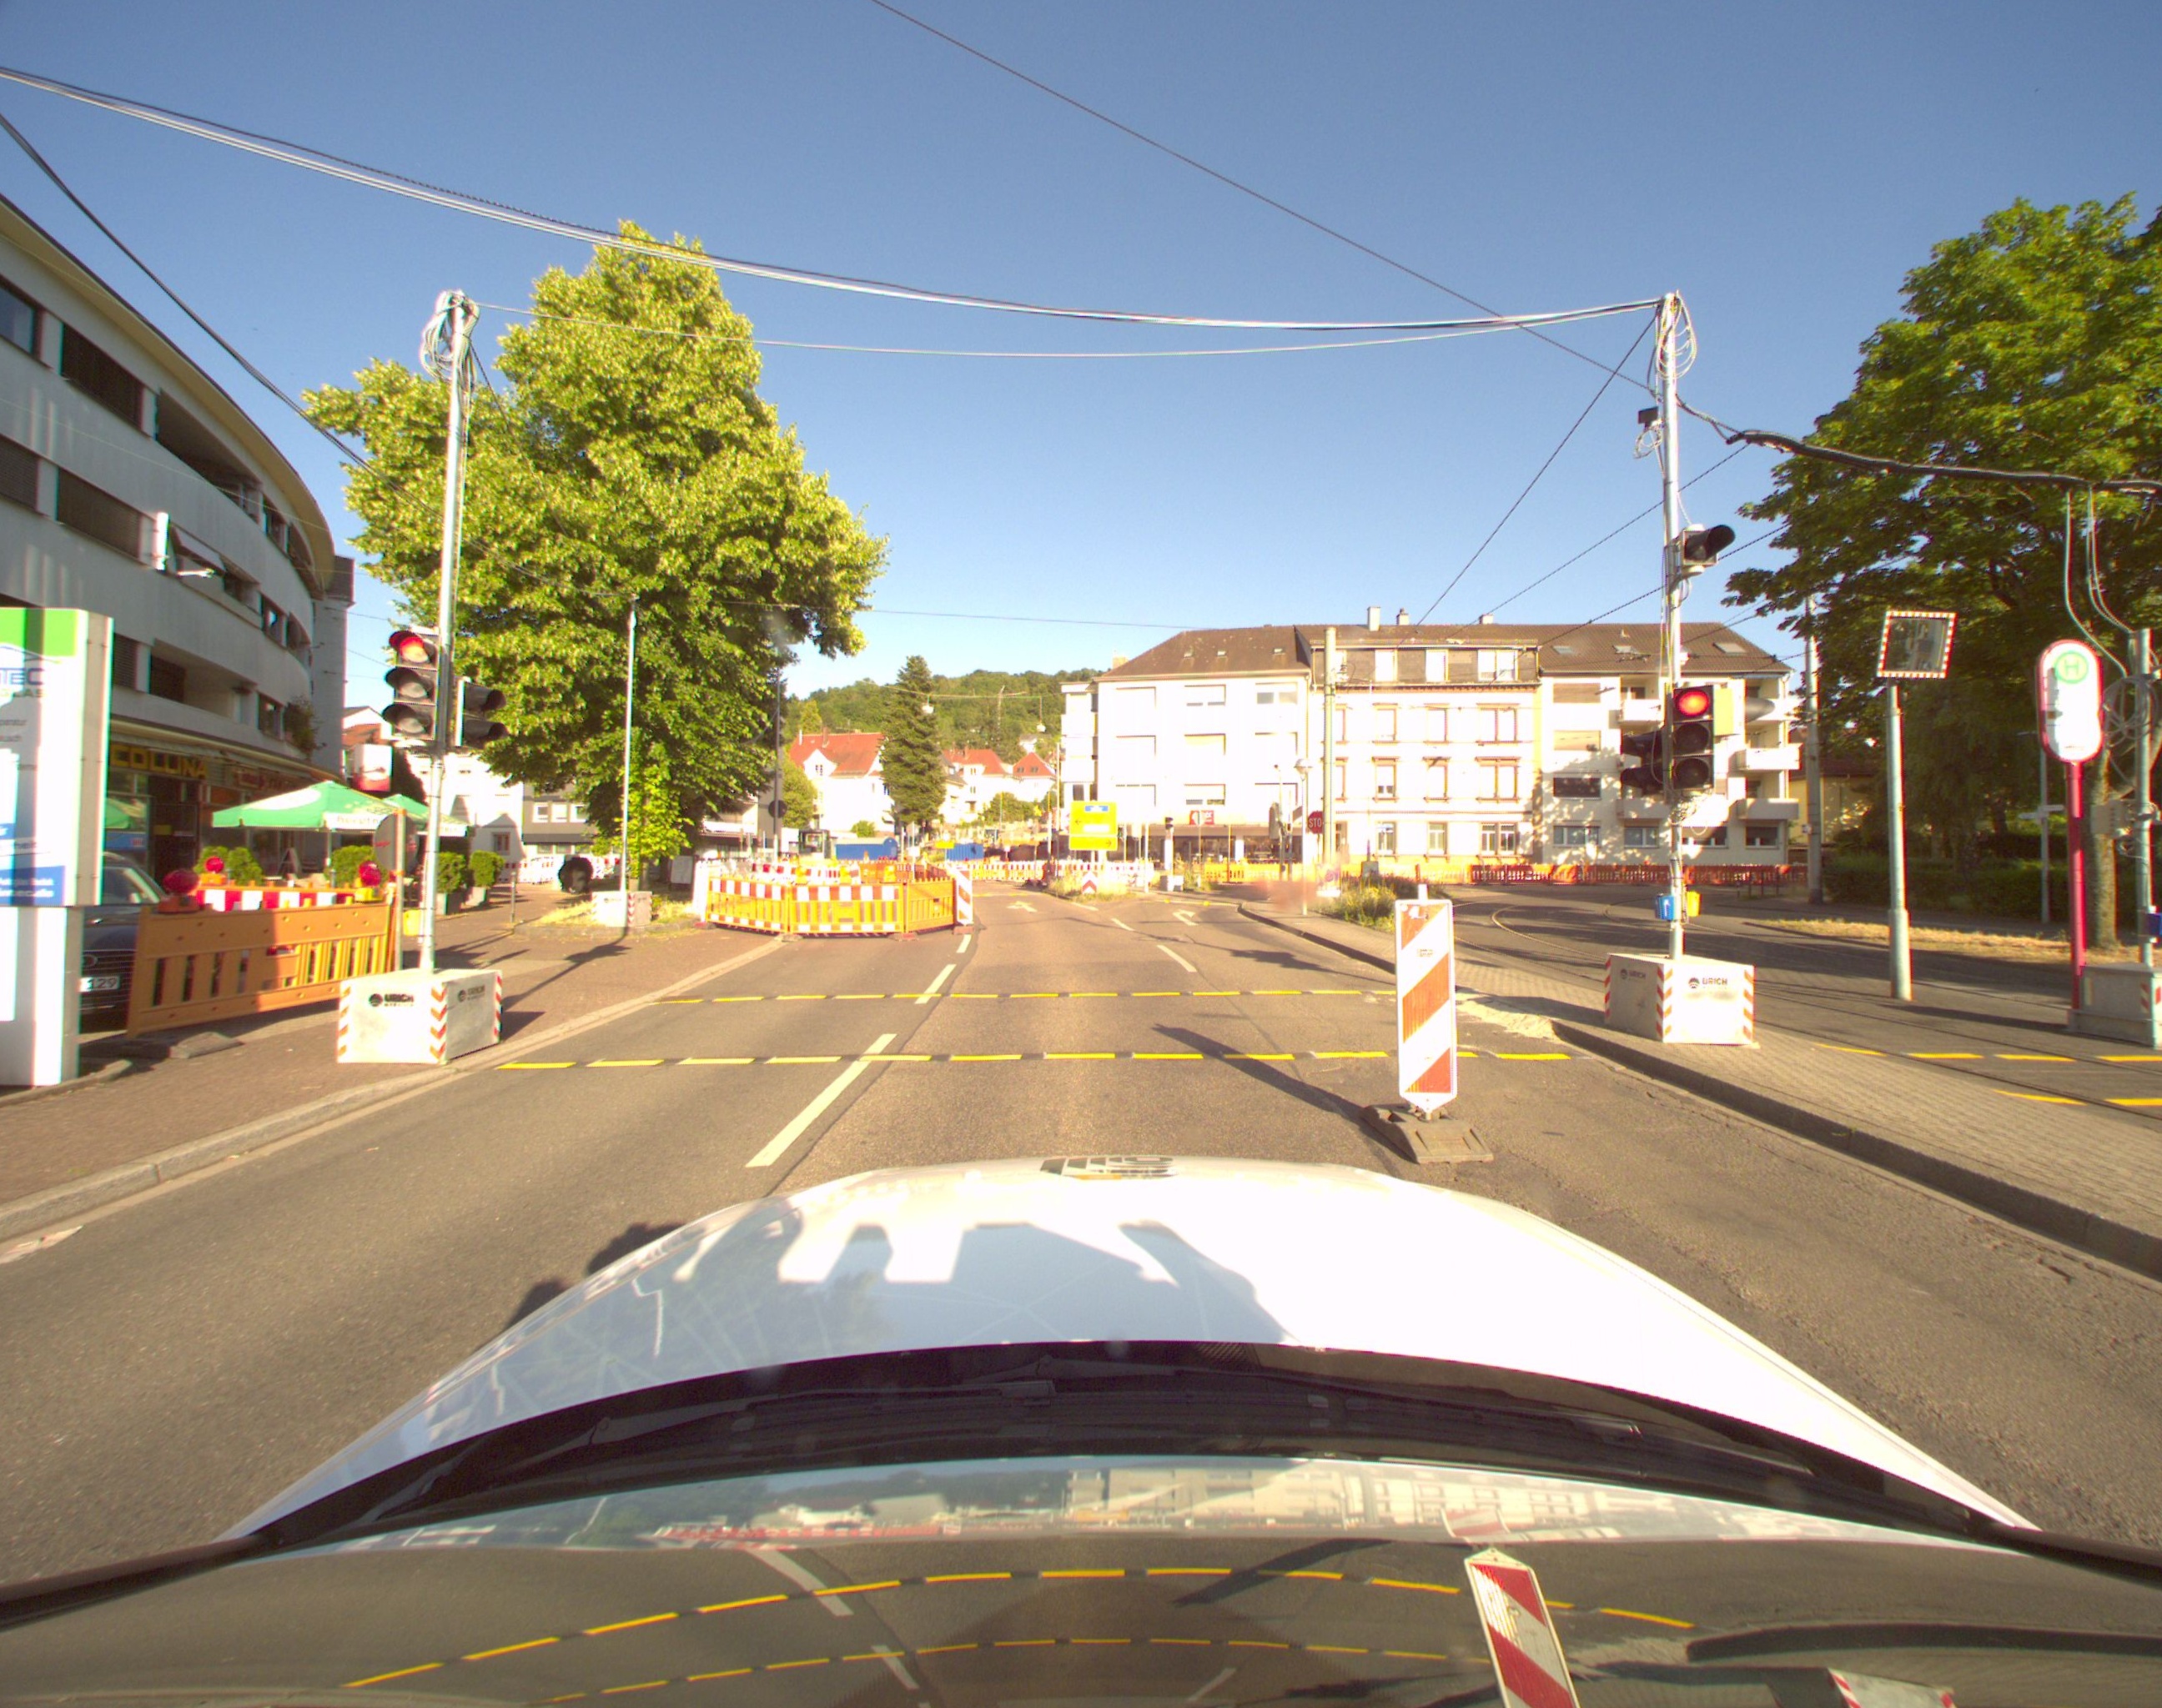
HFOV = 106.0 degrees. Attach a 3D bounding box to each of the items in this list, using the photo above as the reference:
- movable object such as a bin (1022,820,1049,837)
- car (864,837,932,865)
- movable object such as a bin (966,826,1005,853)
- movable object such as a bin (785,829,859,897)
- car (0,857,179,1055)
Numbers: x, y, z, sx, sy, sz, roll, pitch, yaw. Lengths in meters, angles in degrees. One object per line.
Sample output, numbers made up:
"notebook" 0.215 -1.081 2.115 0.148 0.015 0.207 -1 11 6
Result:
"movable object such as a bin" -6.416 -3.592 115.297 2.549 2.122 5.801 -1 -1 11
"car" -14.885 -0.227 66.691 2.562 2.121 6.181 -1 -1 20
"movable object such as a bin" -9.239 -1.347 79.396 1.932 2.494 4.574 -1 -1 20
"movable object such as a bin" -9.423 0.300 29.877 1.643 2.324 3.916 0 0 -3
"car" -9.320 0.779 7.313 3.835 1.438 1.606 -1 0 42
